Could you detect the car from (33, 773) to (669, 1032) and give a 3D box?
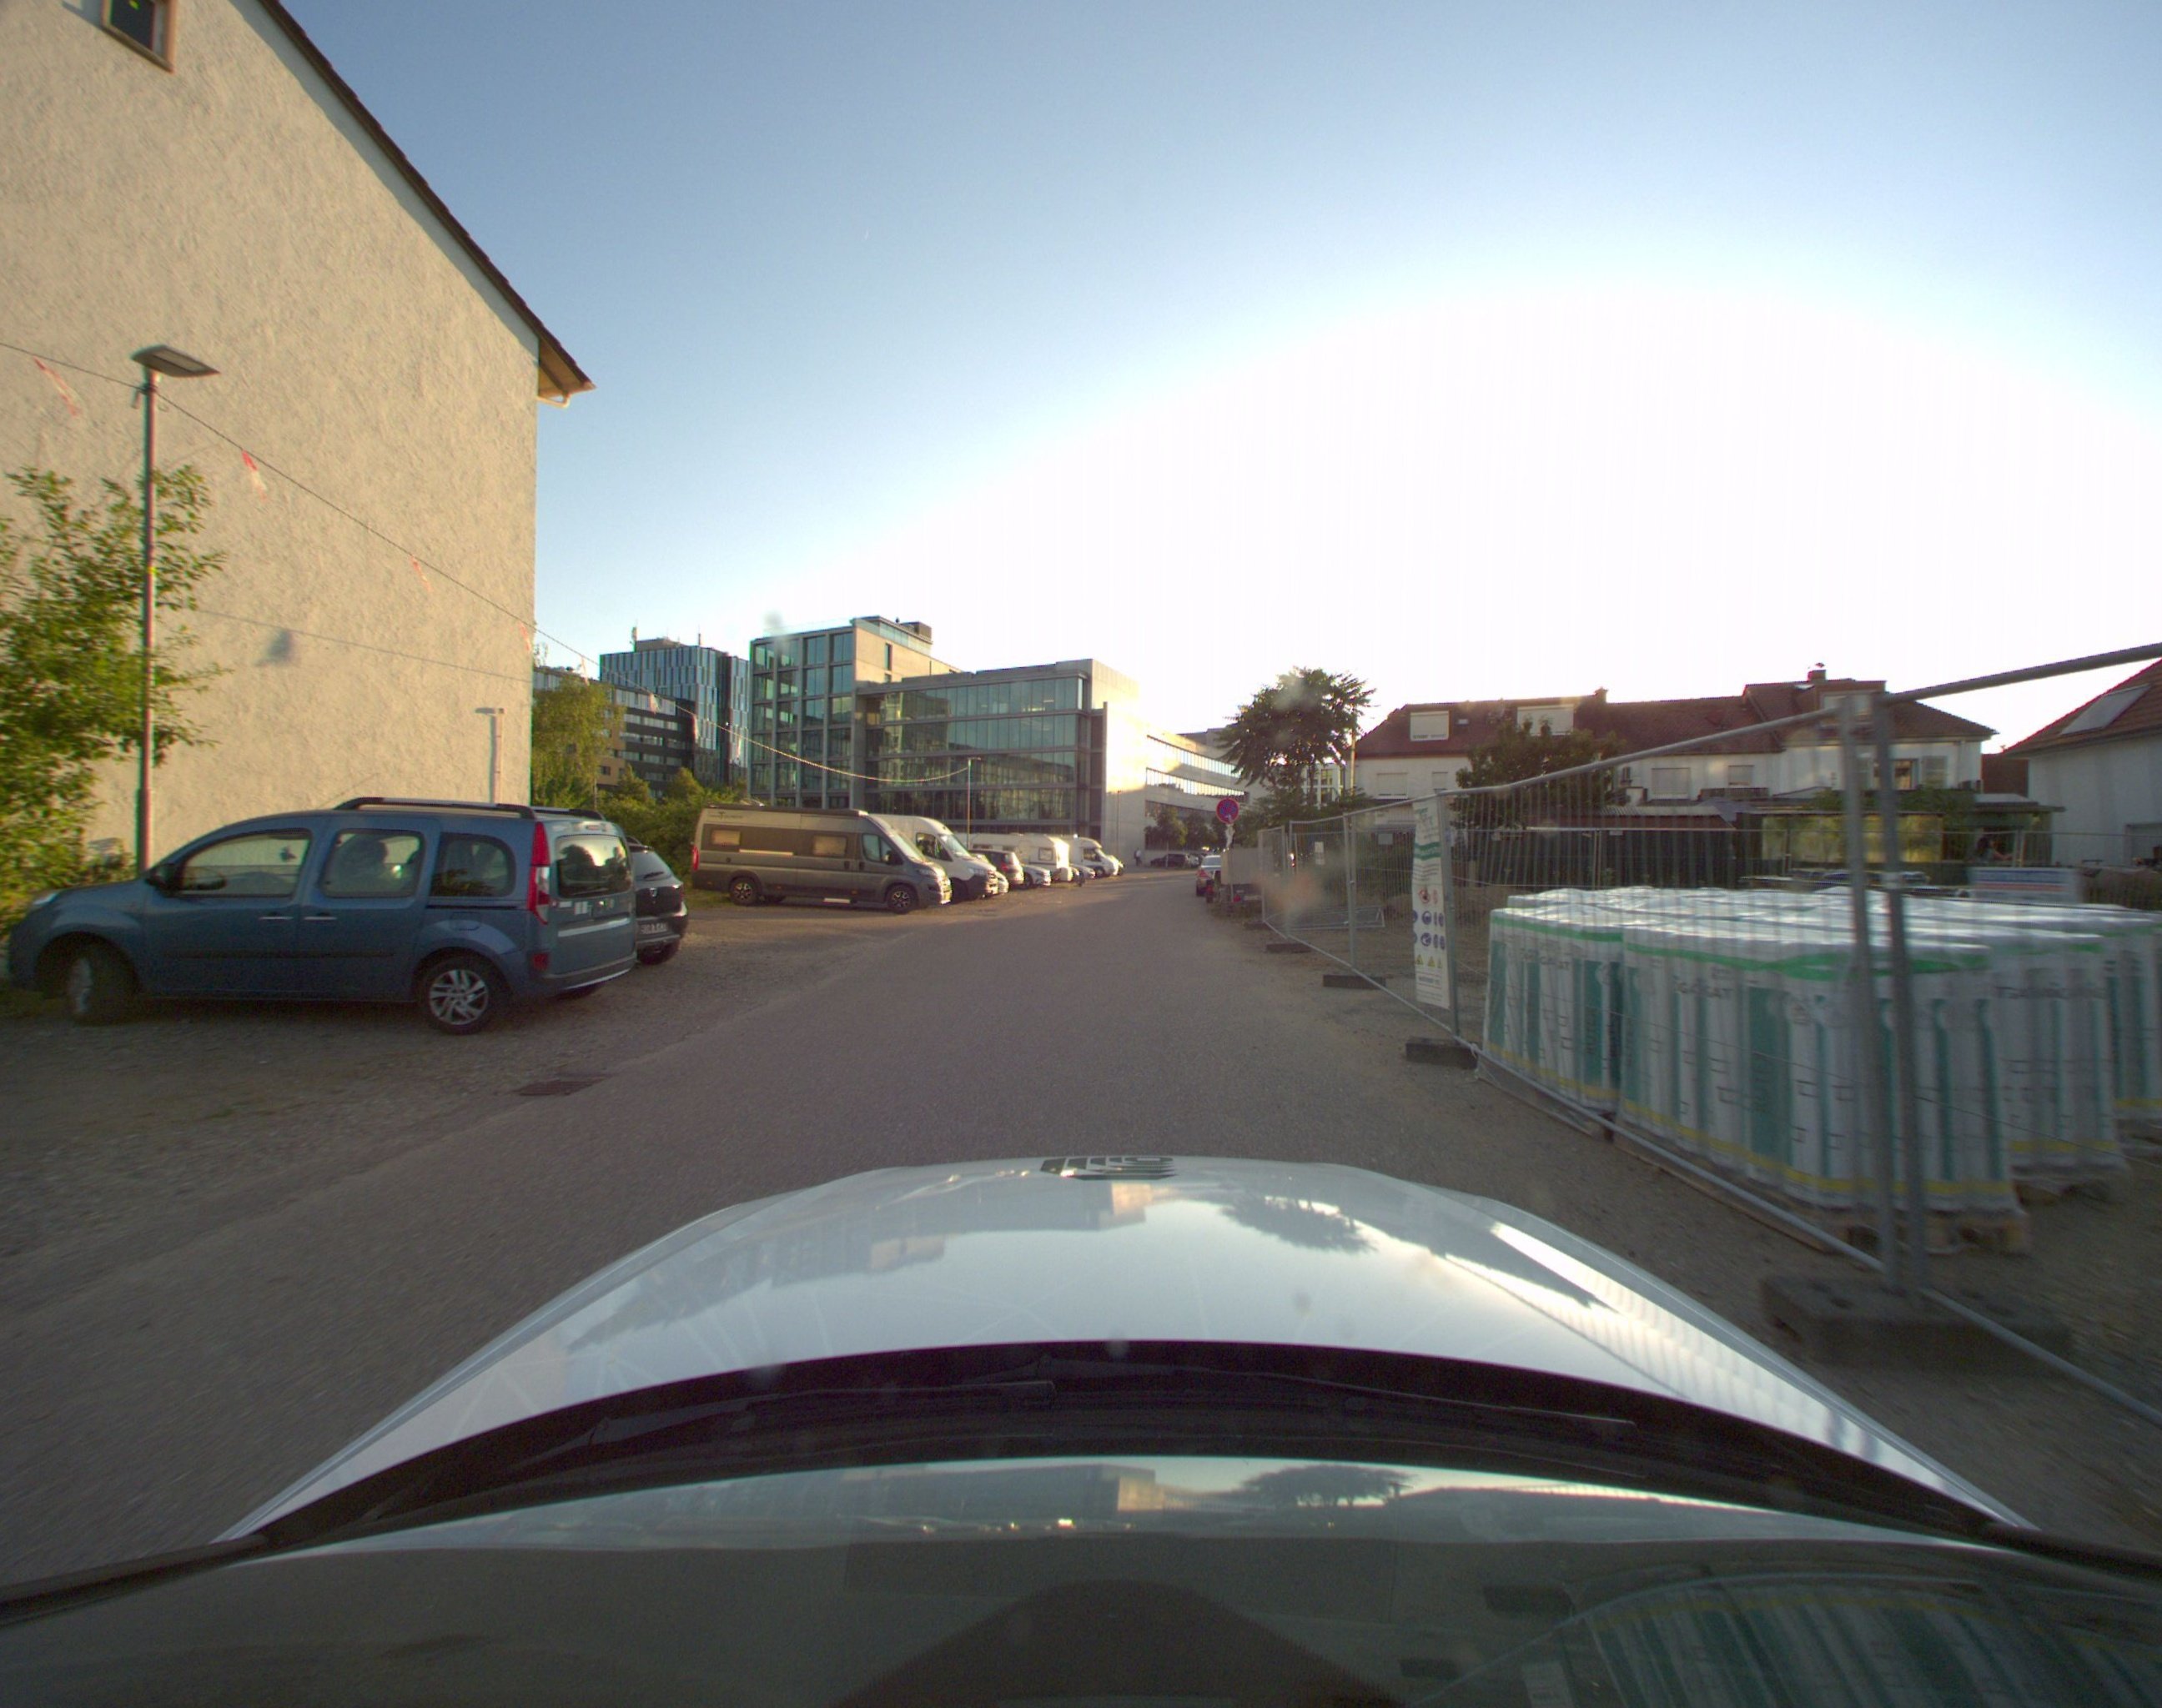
[{"bbox_3d":[-6.161,0.399,7.323,3.918,1.911,1.745,2,1,-5],"label":"car"}]

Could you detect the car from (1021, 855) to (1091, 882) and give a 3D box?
[{"bbox_3d":[-1.395,0.808,46.708,3.703,1.367,1.710,2,0,10],"label":"car"}]

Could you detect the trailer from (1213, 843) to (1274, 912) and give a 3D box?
[{"bbox_3d":[4.240,0.581,21.500,1.244,1.665,2.806,-1,0,5],"label":"trailer"}]

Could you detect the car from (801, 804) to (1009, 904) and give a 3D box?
[{"bbox_3d":[-5.361,-0.038,25.228,5.796,2.713,2.054,3,0,6],"label":"car"}]

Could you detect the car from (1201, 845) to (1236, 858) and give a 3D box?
[{"bbox_3d":[16.150,-0.346,95.836,3.668,1.457,1.721,1,0,26],"label":"car"}]

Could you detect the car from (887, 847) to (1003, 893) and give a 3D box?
[{"bbox_3d":[-5.060,0.605,30.609,3.903,1.591,1.752,1,-1,8],"label":"car"}]

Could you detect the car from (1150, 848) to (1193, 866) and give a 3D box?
[{"bbox_3d":[8.556,0.261,76.954,3.704,1.482,1.778,2,1,19],"label":"car"}]

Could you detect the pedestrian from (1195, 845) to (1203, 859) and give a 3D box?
[{"bbox_3d":[14.438,-0.243,99.633,0.640,1.784,0.729,2,0,25],"label":"pedestrian"}]

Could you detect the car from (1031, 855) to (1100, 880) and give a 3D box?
[{"bbox_3d":[-0.921,0.775,48.786,3.783,1.328,1.698,2,0,11],"label":"car"}]

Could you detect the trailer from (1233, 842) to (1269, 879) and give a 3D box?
[{"bbox_3d":[10.890,0.366,51.920,2.049,2.211,5.243,0,0,14],"label":"trailer"}]

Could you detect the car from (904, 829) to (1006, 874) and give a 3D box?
[{"bbox_3d":[-8.243,-0.195,53.298,6.192,2.673,2.234,2,0,18],"label":"car"}]

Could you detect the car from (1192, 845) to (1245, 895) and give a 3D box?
[{"bbox_3d":[5.254,0.562,30.920,1.795,1.724,4.942,-2,0,10],"label":"car"}]

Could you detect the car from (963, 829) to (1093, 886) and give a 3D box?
[{"bbox_3d":[-2.589,0.163,40.410,5.845,2.534,2.421,2,-1,14],"label":"car"}]

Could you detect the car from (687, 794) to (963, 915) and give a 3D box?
[{"bbox_3d":[-6.492,0.034,21.221,6.365,2.713,2.113,3,-1,1],"label":"car"}]

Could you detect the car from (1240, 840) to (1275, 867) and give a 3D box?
[{"bbox_3d":[14.686,-0.044,67.701,2.047,2.095,4.898,0,0,22],"label":"car"}]

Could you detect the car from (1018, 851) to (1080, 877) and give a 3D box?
[{"bbox_3d":[-2.019,0.609,51.899,3.584,1.476,1.697,2,0,8],"label":"car"}]

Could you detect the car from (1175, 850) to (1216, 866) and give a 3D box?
[{"bbox_3d":[12.183,0.391,86.413,3.951,1.511,1.770,2,1,25],"label":"car"}]

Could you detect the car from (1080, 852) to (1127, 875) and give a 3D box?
[{"bbox_3d":[1.648,0.678,57.259,1.671,1.519,4.385,2,0,24],"label":"car"}]

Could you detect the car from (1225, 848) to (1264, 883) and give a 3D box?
[{"bbox_3d":[9.270,0.614,46.016,1.757,1.831,4.427,0,0,16],"label":"car"}]

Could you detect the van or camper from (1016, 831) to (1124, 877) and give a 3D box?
[{"bbox_3d":[-0.731,-0.021,54.171,6.692,2.897,2.418,1,0,14],"label":"van or camper"}]

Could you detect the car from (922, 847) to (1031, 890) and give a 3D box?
[{"bbox_3d":[-4.161,0.548,32.617,3.895,1.590,1.756,1,0,16],"label":"car"}]

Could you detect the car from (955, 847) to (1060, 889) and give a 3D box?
[{"bbox_3d":[-3.167,0.586,35.340,4.095,1.590,1.756,3,1,16],"label":"car"}]

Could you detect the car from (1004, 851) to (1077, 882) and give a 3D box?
[{"bbox_3d":[-2.154,0.663,43.853,3.606,1.519,1.710,2,0,10],"label":"car"}]

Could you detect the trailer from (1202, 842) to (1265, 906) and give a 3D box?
[{"bbox_3d":[4.763,0.579,25.605,1.720,1.777,4.951,-1,0,10],"label":"trailer"}]

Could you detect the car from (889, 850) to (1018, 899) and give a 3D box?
[{"bbox_3d":[-4.295,0.677,27.705,3.902,1.507,1.794,1,0,9],"label":"car"}]

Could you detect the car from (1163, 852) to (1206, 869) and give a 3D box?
[{"bbox_3d":[10.337,0.667,81.578,3.966,1.512,1.593,2,2,18],"label":"car"}]

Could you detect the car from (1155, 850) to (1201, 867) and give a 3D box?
[{"bbox_3d":[9.478,0.428,79.625,4.053,1.528,1.855,2,1,18],"label":"car"}]

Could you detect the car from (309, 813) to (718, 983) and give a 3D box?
[{"bbox_3d":[-6.717,0.443,9.822,3.900,1.652,1.753,3,1,11],"label":"car"}]

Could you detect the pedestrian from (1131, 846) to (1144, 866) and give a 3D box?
[{"bbox_3d":[5.274,0.170,76.457,0.906,1.850,0.847,0,0,-34],"label":"pedestrian"}]
